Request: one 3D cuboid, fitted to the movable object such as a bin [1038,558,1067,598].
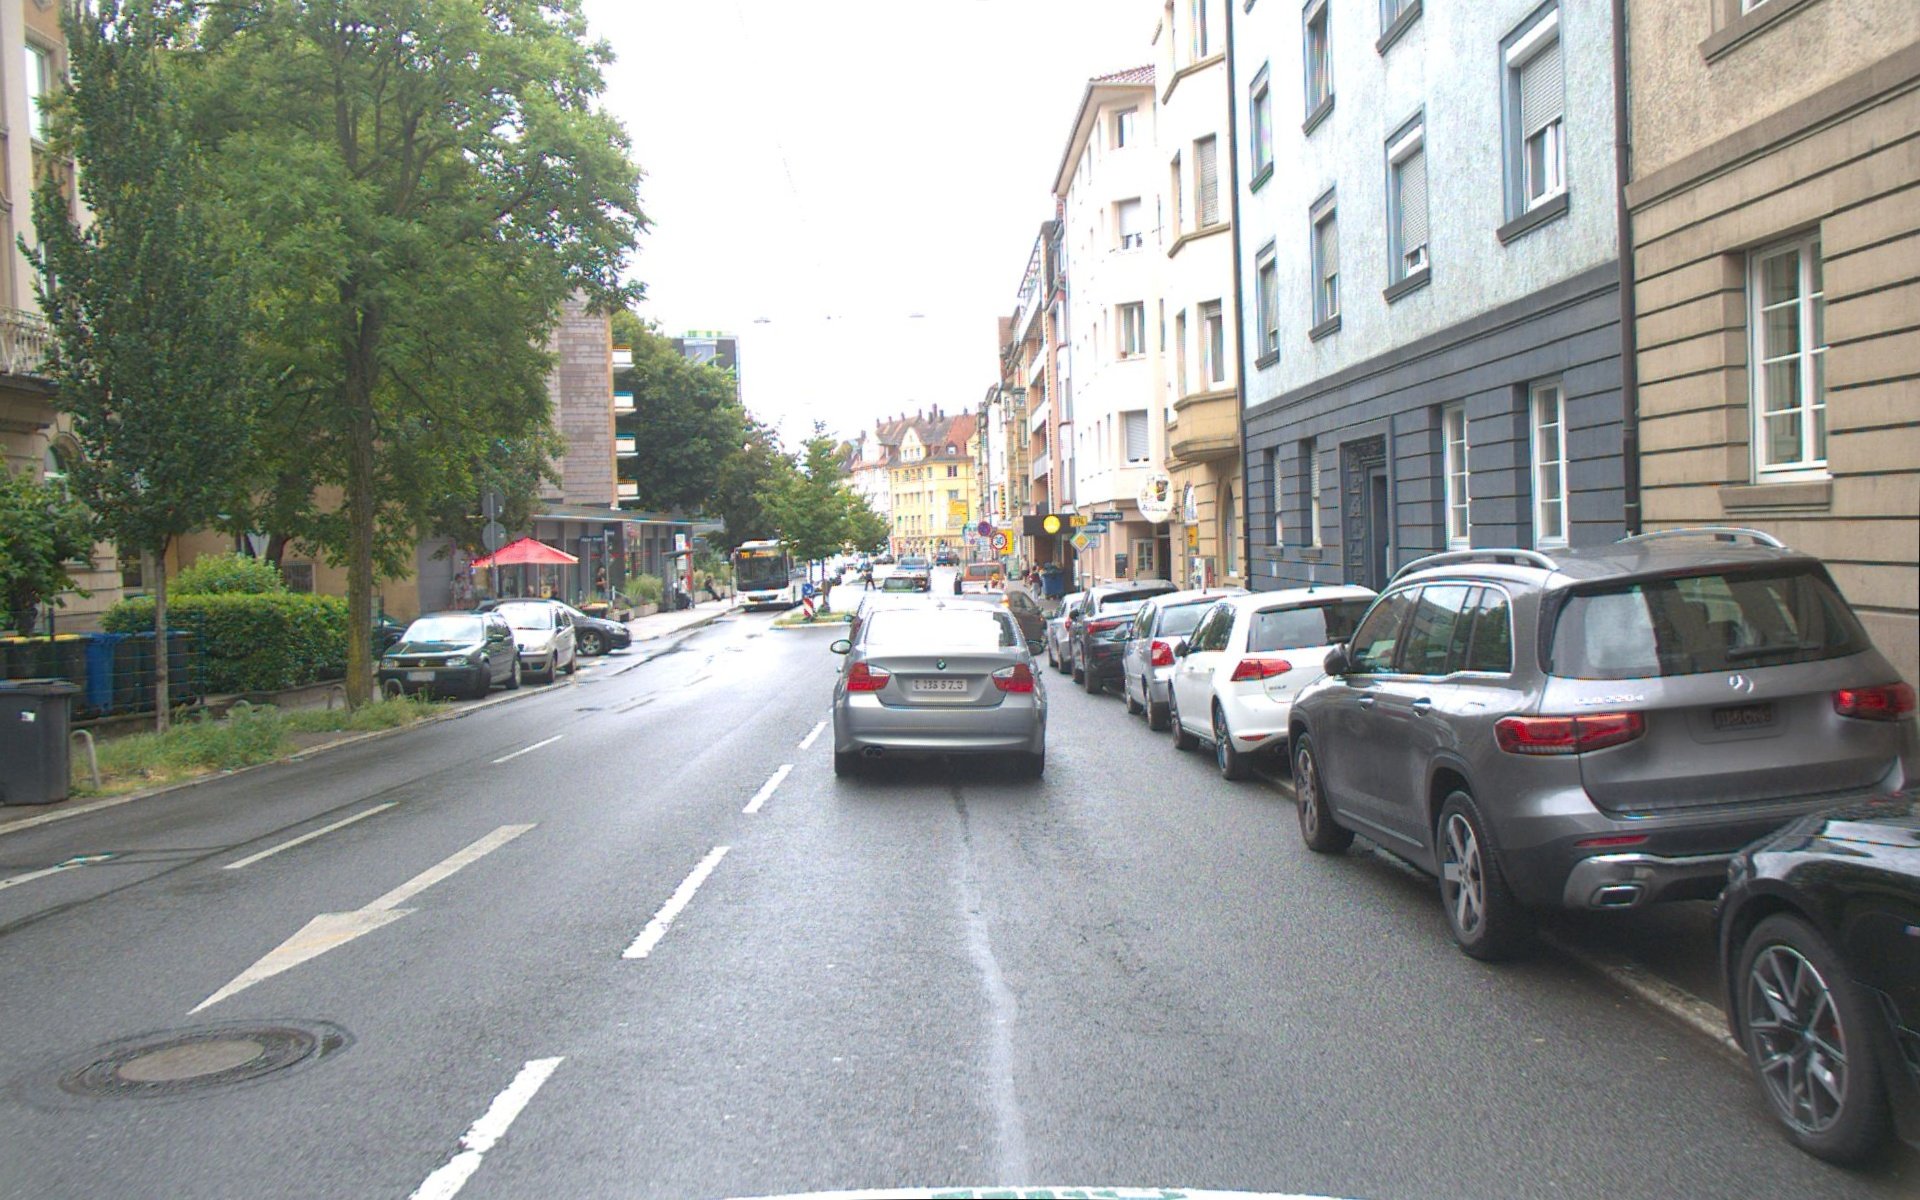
[{"bbox_3d":[4.250,-1.002,76.186,1.100,1.732,1.433,-3,0,-4],"label":"movable object such as a bin"}]

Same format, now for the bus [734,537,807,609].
[{"bbox_3d":[-9.271,-1.203,82.261,2.627,3.256,11.950,1,0,-2],"label":"bus"}]

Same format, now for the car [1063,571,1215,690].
[{"bbox_3d":[2.696,0.422,25.793,1.781,1.584,4.292,-4,0,-1],"label":"car"}]

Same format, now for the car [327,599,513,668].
[{"bbox_3d":[-12.681,0.772,38.997,3.737,1.413,1.743,-2,2,1],"label":"car"}]

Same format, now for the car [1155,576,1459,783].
[{"bbox_3d":[2.911,0.591,14.722,1.695,1.454,3.973,-5,1,-1],"label":"car"}]

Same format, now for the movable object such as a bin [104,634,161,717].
[{"bbox_3d":[-11.070,1.008,22.139,0.417,1.059,0.650,-2,0,-2],"label":"movable object such as a bin"}]

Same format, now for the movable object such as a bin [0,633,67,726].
[{"bbox_3d":[-11.082,0.945,19.767,0.430,1.057,0.650,-2,0,-2],"label":"movable object such as a bin"}]

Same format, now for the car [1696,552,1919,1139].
[{"bbox_3d":[3.283,0.565,2.924,1.804,1.433,4.386,-4,0,-2],"label":"car"}]

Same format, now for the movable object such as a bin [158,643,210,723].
[{"bbox_3d":[-11.076,1.177,23.609,0.430,1.100,0.589,-2,0,-2],"label":"movable object such as a bin"}]

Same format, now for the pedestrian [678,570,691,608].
[{"bbox_3d":[-12.718,-0.492,76.267,0.532,1.739,0.465,1,-1,-8],"label":"pedestrian"}]

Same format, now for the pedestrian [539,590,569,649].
[{"bbox_3d":[-12.572,0.597,51.159,0.729,1.738,0.676,-4,1,-20],"label":"pedestrian"}]

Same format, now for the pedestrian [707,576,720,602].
[{"bbox_3d":[-13.708,-0.611,91.892,0.607,1.402,0.544,1,-1,0],"label":"pedestrian"}]

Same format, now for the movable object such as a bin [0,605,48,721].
[{"bbox_3d":[-11.075,0.726,19.328,0.430,1.322,0.650,-2,0,-2],"label":"movable object such as a bin"}]

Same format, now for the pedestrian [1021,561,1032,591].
[{"bbox_3d":[3.908,-1.406,96.777,0.602,1.690,0.755,1,-1,5],"label":"pedestrian"}]

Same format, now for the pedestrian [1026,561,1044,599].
[{"bbox_3d":[3.368,-0.889,74.603,0.735,1.690,0.754,1,-1,-1],"label":"pedestrian"}]

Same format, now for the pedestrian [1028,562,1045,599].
[{"bbox_3d":[3.643,-0.921,78.490,0.733,1.690,0.837,1,-1,5],"label":"pedestrian"}]

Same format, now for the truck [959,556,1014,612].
[{"bbox_3d":[1.141,-0.642,69.120,2.169,2.153,4.653,2,0,2],"label":"truck"}]

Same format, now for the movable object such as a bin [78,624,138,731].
[{"bbox_3d":[-11.025,0.998,21.412,0.430,1.331,0.609,-2,0,-2],"label":"movable object such as a bin"}]

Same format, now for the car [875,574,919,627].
[{"bbox_3d":[-2.540,0.036,66.267,1.671,2.049,3.997,1,-1,-3],"label":"car"}]

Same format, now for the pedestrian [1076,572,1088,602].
[{"bbox_3d":[5.139,-0.550,69.520,0.404,1.223,0.357,-4,2,1],"label":"pedestrian"}]

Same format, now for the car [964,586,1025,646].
[{"bbox_3d":[0.825,0.385,40.507,1.406,1.380,3.762,1,0,0],"label":"car"}]

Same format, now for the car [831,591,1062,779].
[{"bbox_3d":[-0.135,0.647,13.973,1.720,1.386,3.164,0,0,-1],"label":"car"}]

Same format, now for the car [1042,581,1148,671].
[{"bbox_3d":[2.492,0.441,31.311,1.537,1.489,4.088,-4,0,-1],"label":"car"}]

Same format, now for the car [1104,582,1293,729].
[{"bbox_3d":[2.724,0.580,19.594,1.551,1.454,3.594,-5,1,-1],"label":"car"}]

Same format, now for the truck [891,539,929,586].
[{"bbox_3d":[-2.961,-2.171,97.615,2.172,2.589,4.778,1,-1,-2],"label":"truck"}]

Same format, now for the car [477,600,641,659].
[{"bbox_3d":[-10.103,0.742,41.833,3.739,1.414,1.742,-1,-1,-2],"label":"car"}]

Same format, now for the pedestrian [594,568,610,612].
[{"bbox_3d":[-15.037,-0.413,69.426,0.455,1.821,0.545,1,-1,11],"label":"pedestrian"}]

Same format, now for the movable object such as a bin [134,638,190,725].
[{"bbox_3d":[-11.065,1.126,22.934,0.430,1.150,0.657,-2,1,-2],"label":"movable object such as a bin"}]

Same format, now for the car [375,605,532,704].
[{"bbox_3d":[-8.647,0.879,28.569,1.621,1.479,3.940,-2,1,-3],"label":"car"}]

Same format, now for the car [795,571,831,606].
[{"bbox_3d":[-9.055,-0.710,102.251,1.953,2.049,3.998,-1,0,-2],"label":"car"}]

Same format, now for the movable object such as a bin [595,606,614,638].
[{"bbox_3d":[-12.369,0.758,57.566,0.480,1.100,0.606,-3,-1,-1],"label":"movable object such as a bin"}]

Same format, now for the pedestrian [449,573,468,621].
[{"bbox_3d":[-19.390,-0.128,63.952,0.624,1.847,0.635,-2,1,-18],"label":"pedestrian"}]

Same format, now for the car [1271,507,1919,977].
[{"bbox_3d":[2.959,0.510,8.230,1.804,1.649,4.206,-3,0,-2],"label":"car"}]

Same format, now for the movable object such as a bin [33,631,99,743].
[{"bbox_3d":[-11.095,1.069,20.540,0.430,1.331,0.650,-2,0,-2],"label":"movable object such as a bin"}]

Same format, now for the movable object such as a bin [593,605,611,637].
[{"bbox_3d":[-12.625,0.742,58.321,0.480,1.100,0.606,-3,-1,-1],"label":"movable object such as a bin"}]

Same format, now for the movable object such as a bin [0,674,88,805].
[{"bbox_3d":[-8.084,1.211,14.417,0.617,1.076,0.600,-2,-1,-1],"label":"movable object such as a bin"}]

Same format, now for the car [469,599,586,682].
[{"bbox_3d":[-8.585,0.759,33.115,1.600,1.479,3.836,-2,1,-5],"label":"car"}]

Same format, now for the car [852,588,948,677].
[{"bbox_3d":[-1.090,0.555,29.176,1.570,1.445,3.285,1,-1,-3],"label":"car"}]

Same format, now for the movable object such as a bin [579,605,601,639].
[{"bbox_3d":[-12.630,0.751,56.439,0.542,1.100,0.731,-3,-1,-1],"label":"movable object such as a bin"}]
